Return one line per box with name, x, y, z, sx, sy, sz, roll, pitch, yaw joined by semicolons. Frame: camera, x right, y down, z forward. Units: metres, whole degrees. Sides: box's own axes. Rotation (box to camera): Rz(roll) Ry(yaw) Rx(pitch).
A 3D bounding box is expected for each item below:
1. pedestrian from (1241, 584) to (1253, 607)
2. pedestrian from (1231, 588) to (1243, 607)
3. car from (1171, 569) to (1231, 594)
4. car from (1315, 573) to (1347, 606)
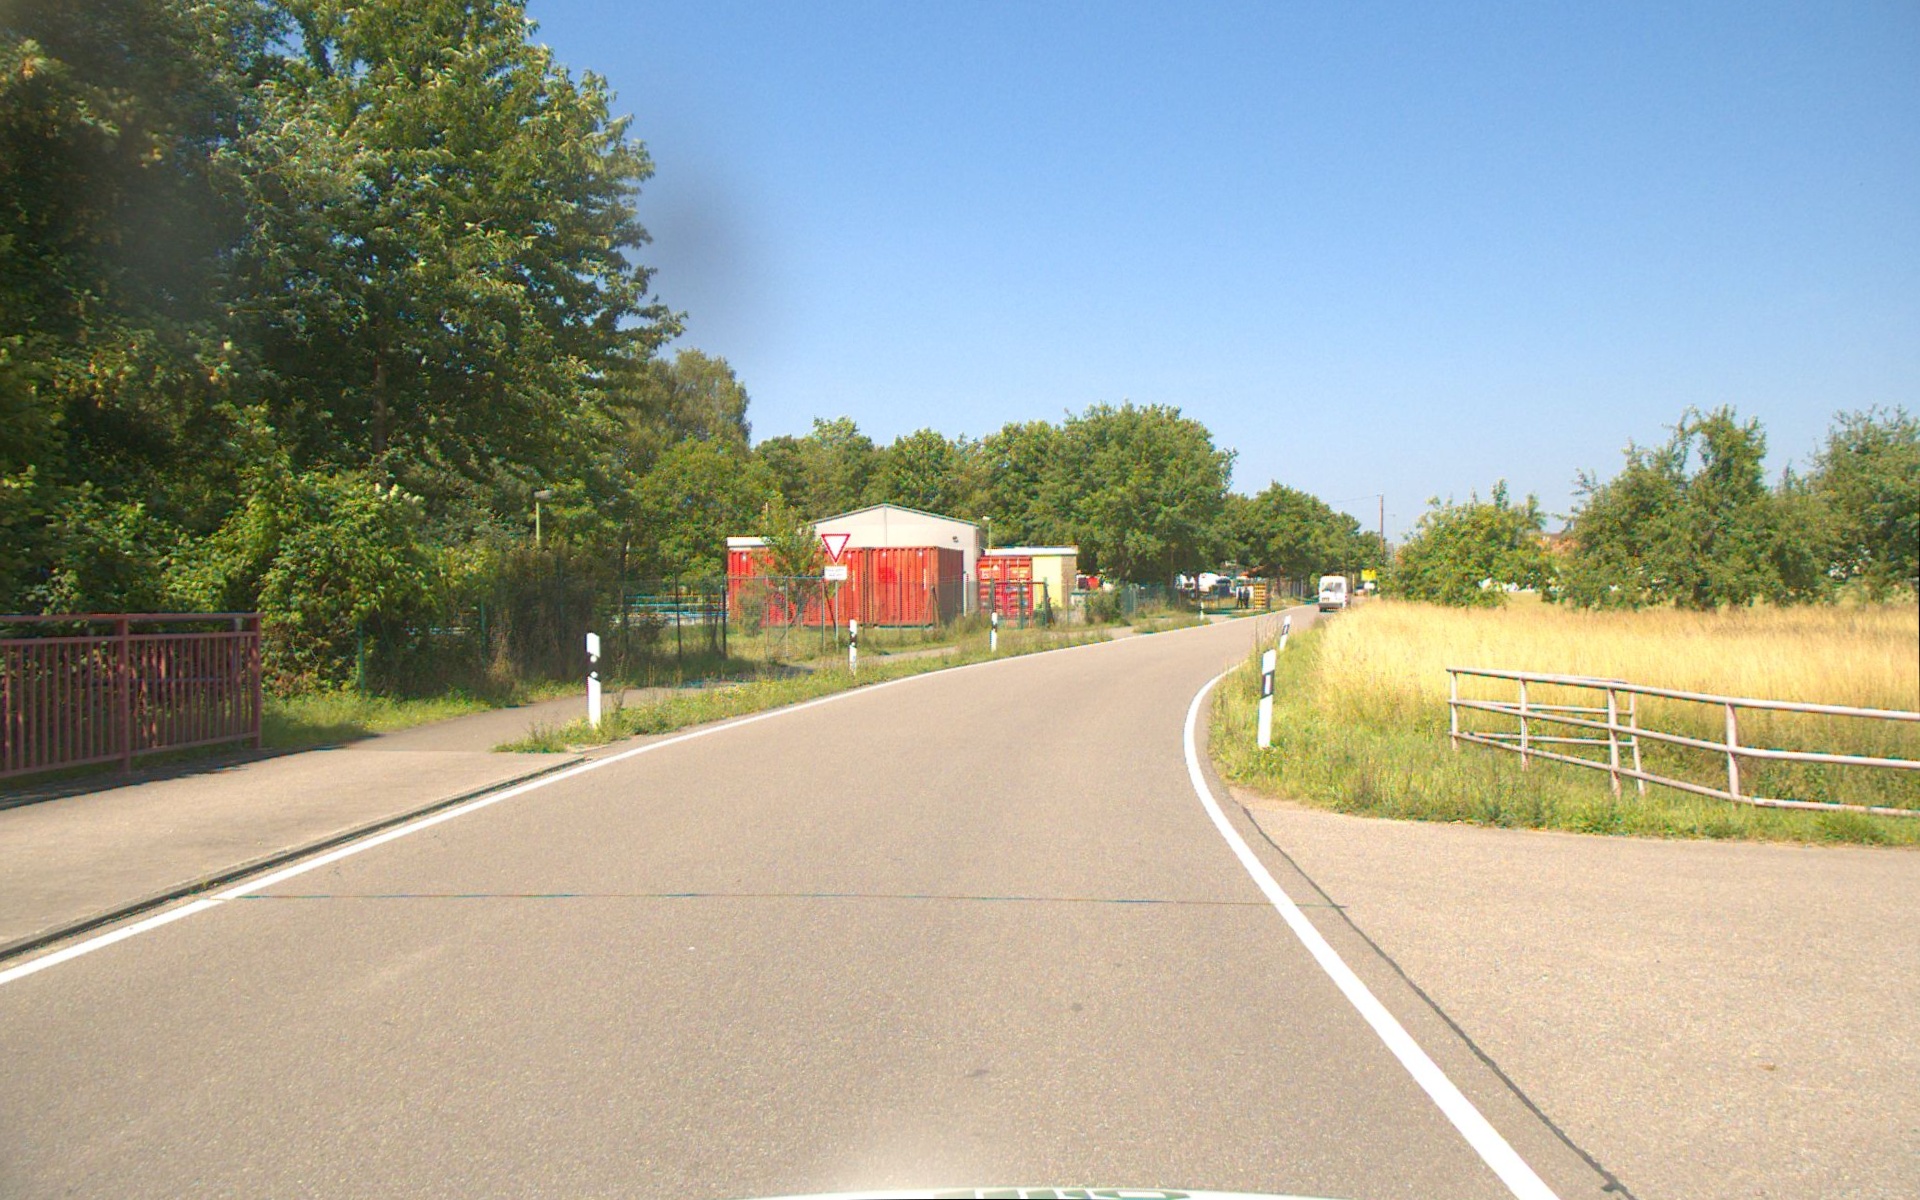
pedestrian;23.764;-0.362;137.029;0.708;1.834;0.707;-1;0;38
pedestrian;22.903;-0.213;136.717;0.666;1.593;0.715;-1;0;38
car;23.198;-1.767;159.250;5.519;2.306;1.986;-1;0;-23
car;26.613;-0.750;118.418;1.951;2.305;4.729;-1;0;16
